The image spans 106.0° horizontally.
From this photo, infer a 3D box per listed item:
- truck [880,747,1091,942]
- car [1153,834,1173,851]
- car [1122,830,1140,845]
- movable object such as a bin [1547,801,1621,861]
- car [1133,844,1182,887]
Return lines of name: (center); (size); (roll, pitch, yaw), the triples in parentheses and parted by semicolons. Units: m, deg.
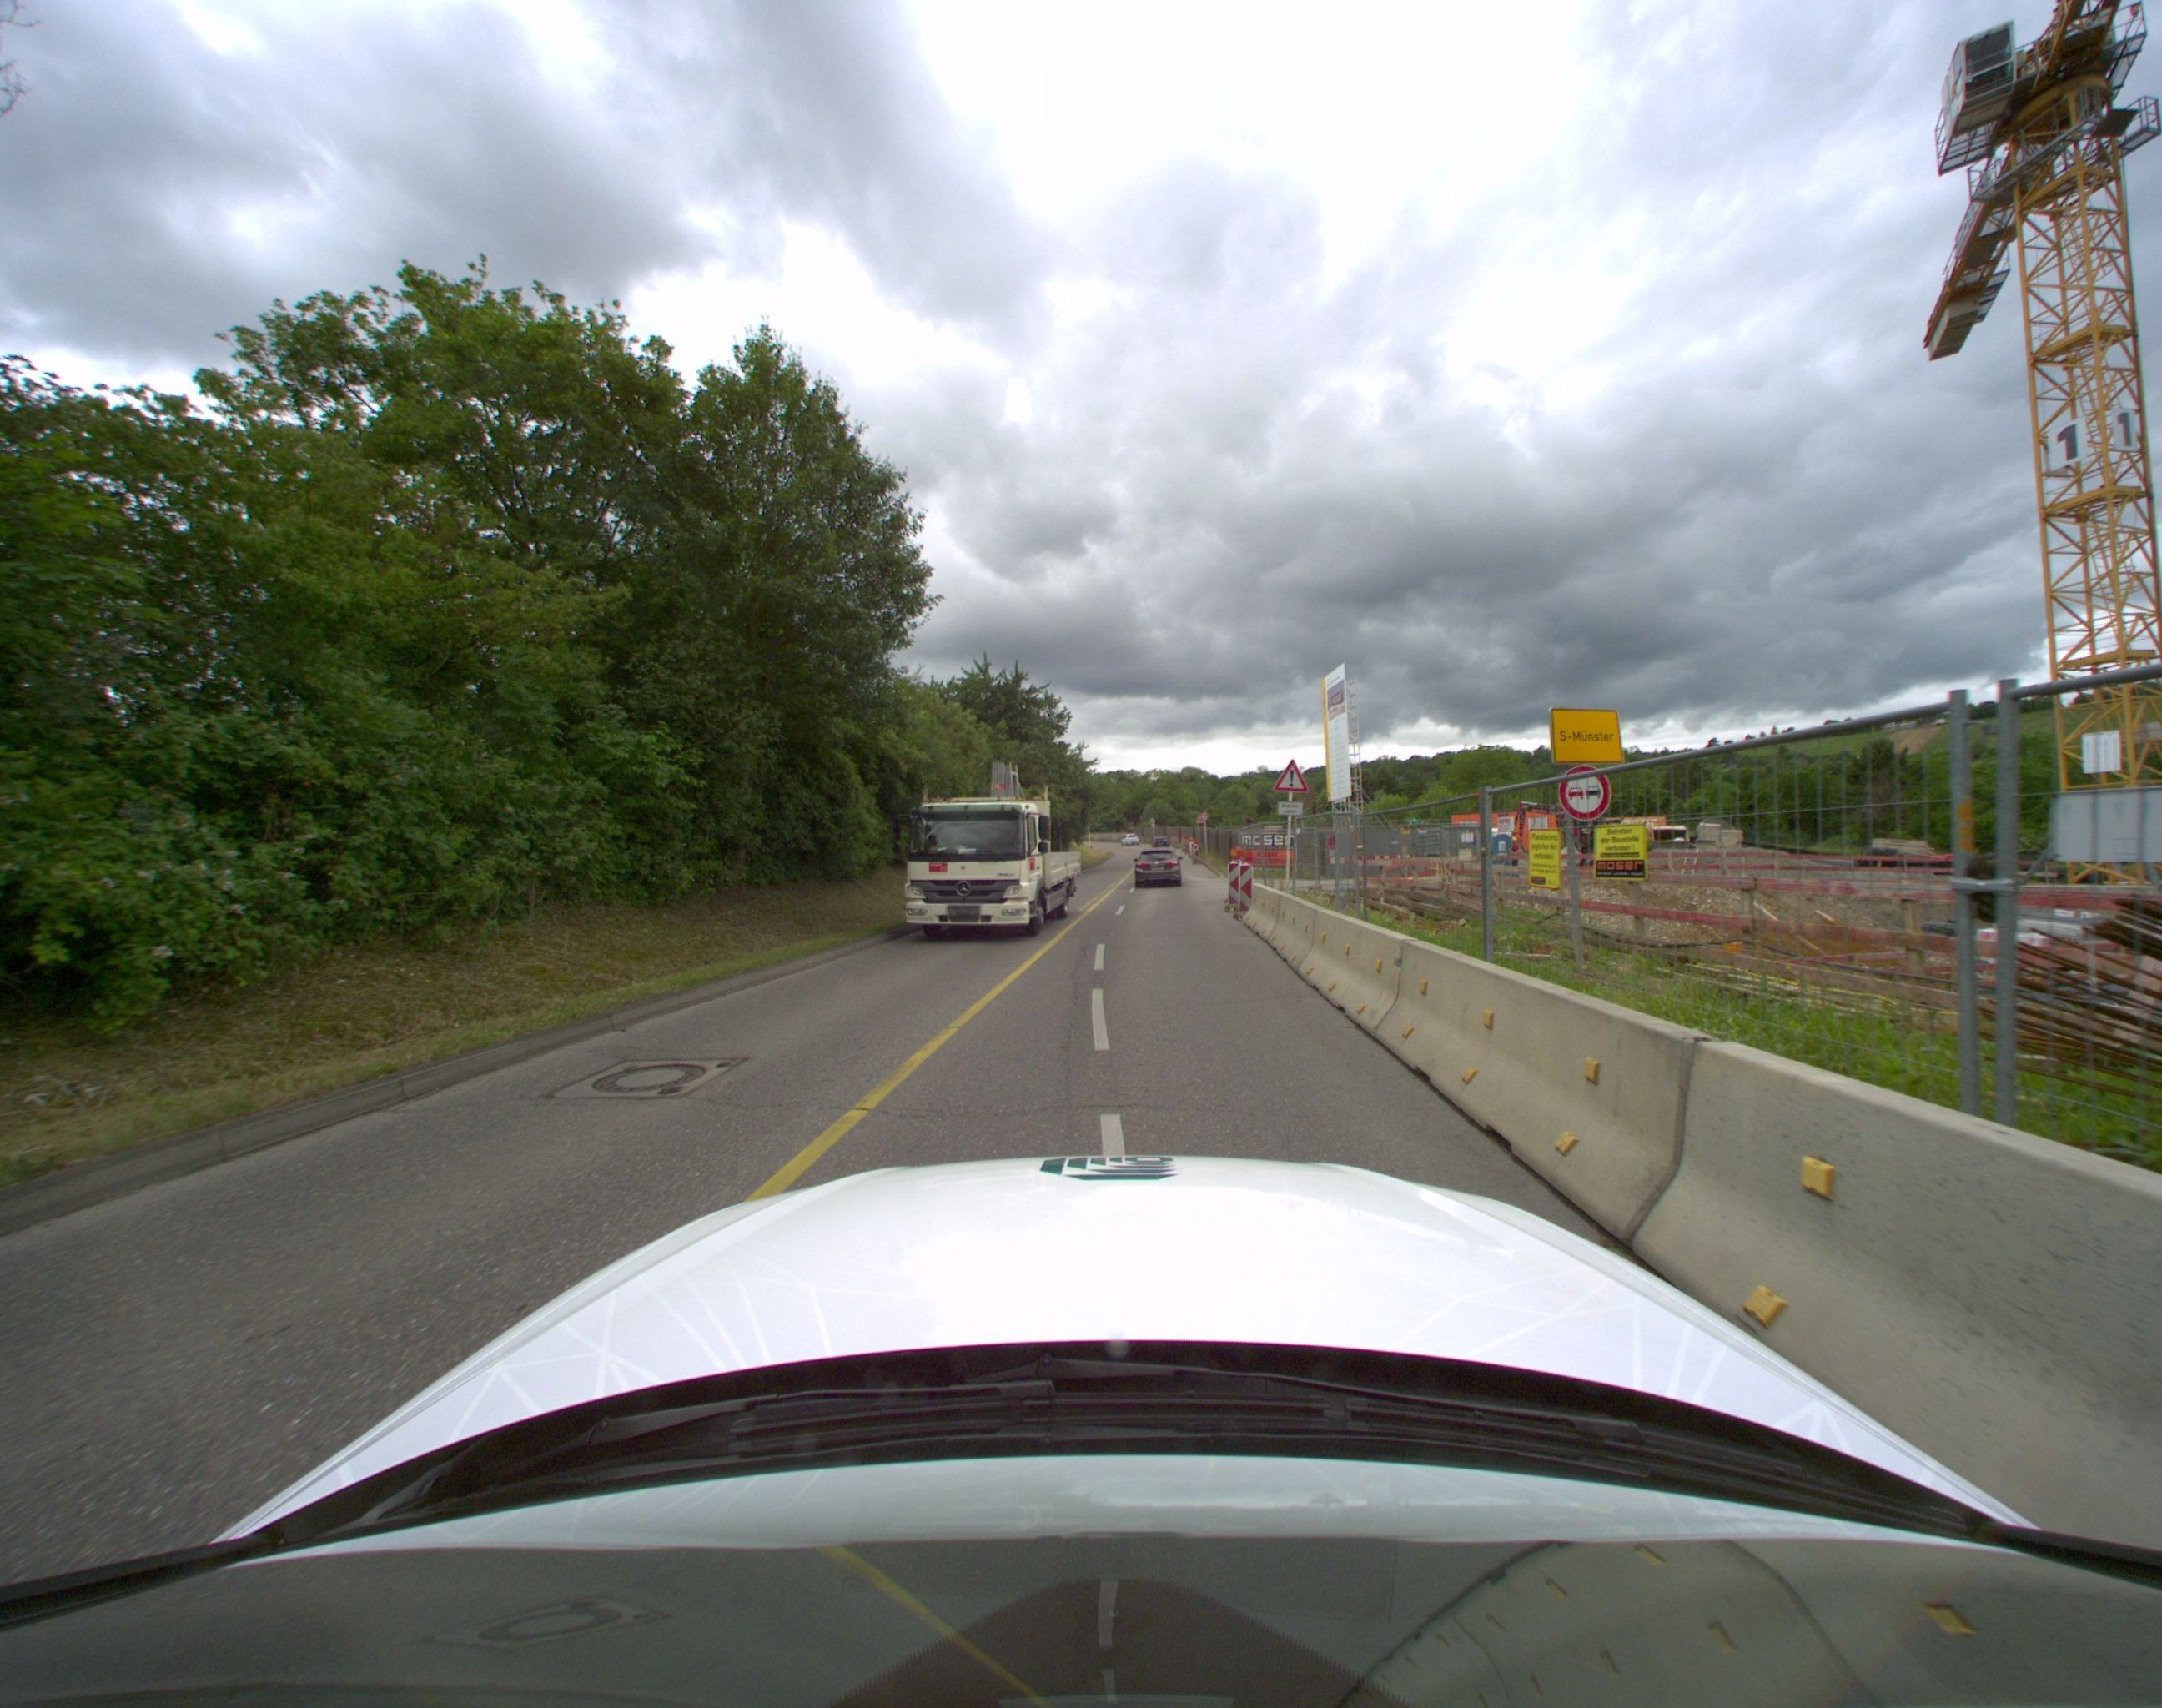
truck: (-1.613, -0.243, 18.252); (2.805, 3.335, 8.396); (-1, 1, 6)
car: (8.141, -1.127, 80.721); (1.809, 1.552, 3.796); (-1, 0, 7)
car: (6.557, -2.121, 106.404); (1.709, 1.675, 3.992); (-3, -1, -6)
movable object such as a bin: (27.450, -1.211, 44.525); (2.778, 3.077, 1.843); (-3, -1, 4)
car: (3.106, 0.421, 32.593); (1.788, 1.552, 4.008); (-2, 1, 6)
